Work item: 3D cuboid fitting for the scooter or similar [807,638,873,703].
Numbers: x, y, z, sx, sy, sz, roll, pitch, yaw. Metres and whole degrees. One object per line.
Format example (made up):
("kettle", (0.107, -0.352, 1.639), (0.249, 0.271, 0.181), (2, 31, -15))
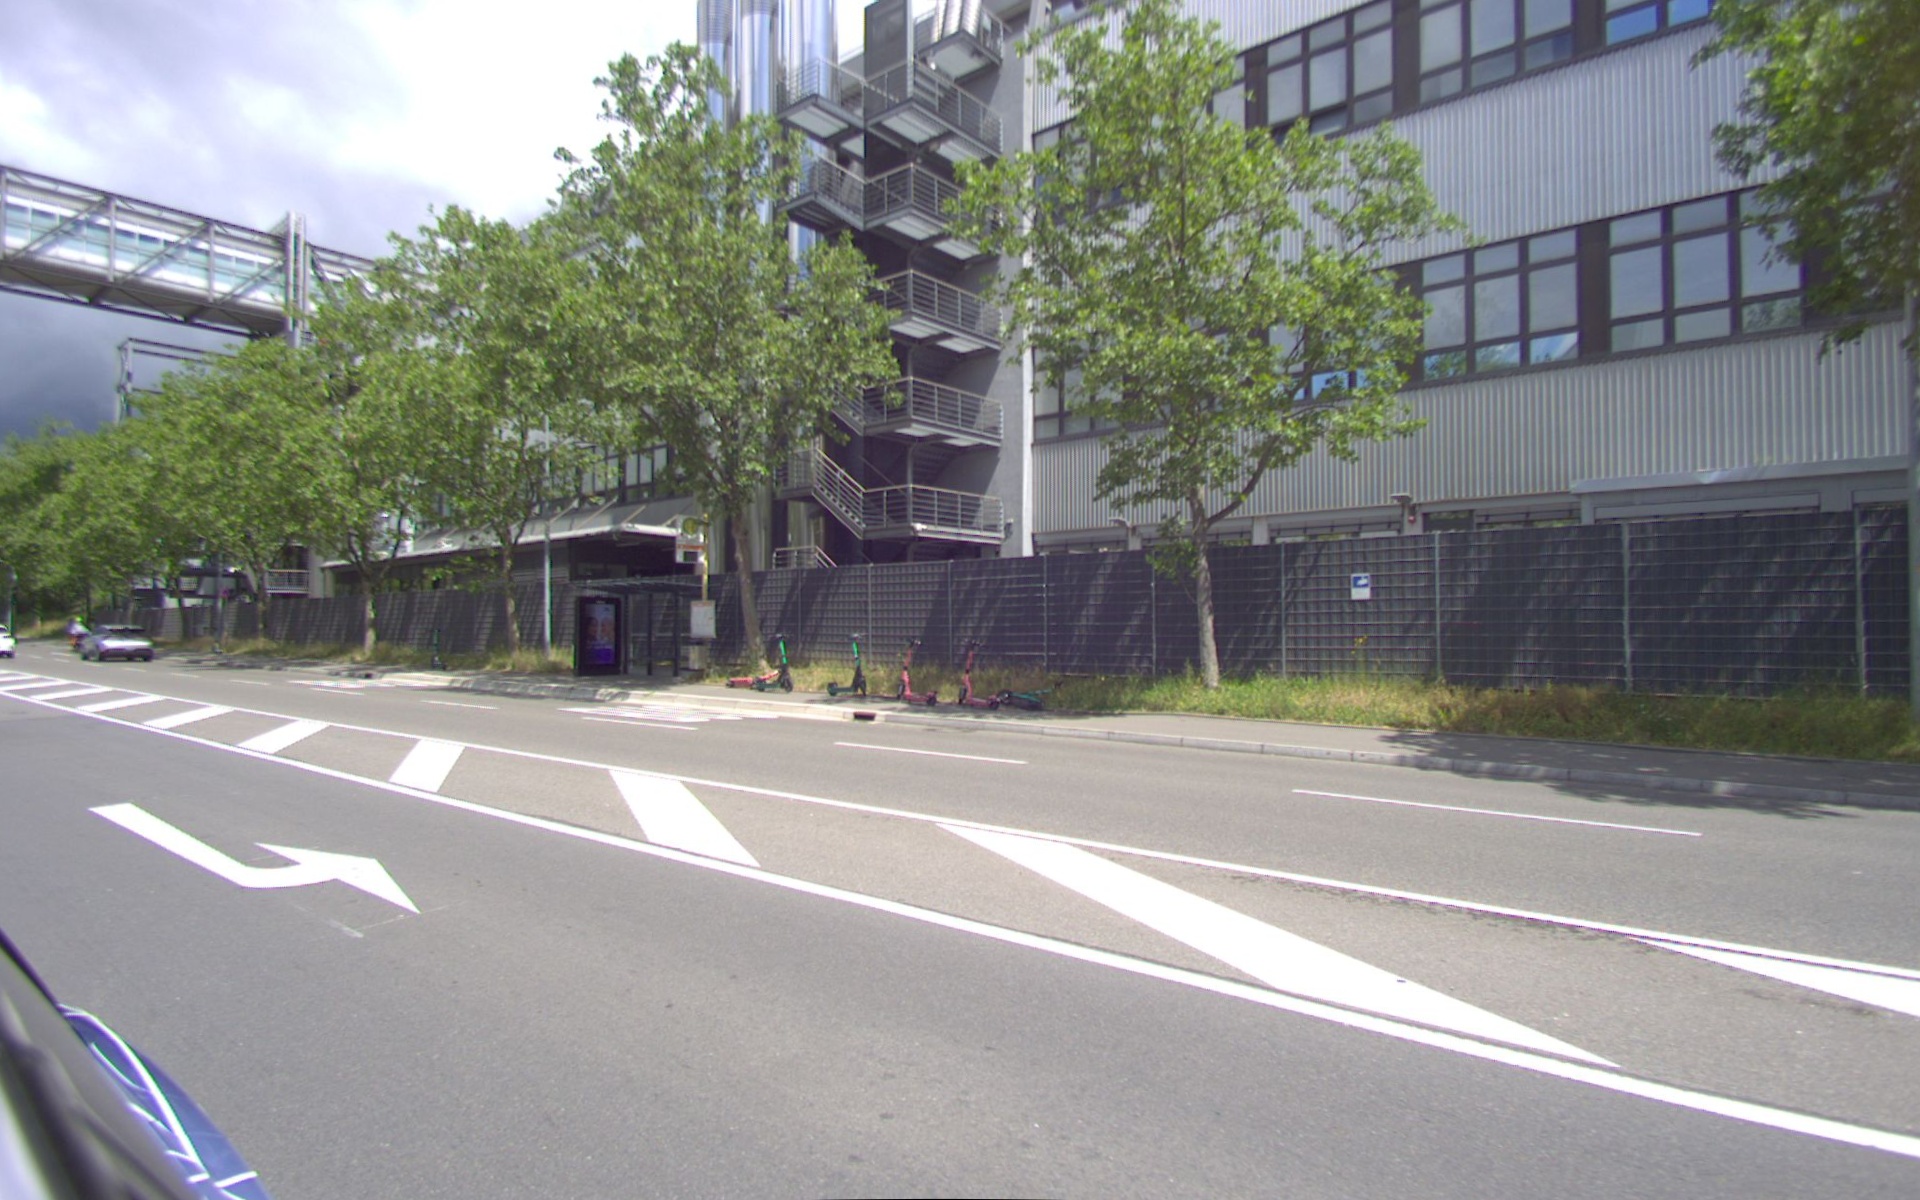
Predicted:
("scooter or similar", (-2.444, 1.422, 20.597), (1.316, 1.244, 0.518), (-2, 0, 39))

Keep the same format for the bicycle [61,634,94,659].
("bicycle", (-45.308, 2.387, 51.947), (2.470, 1.244, 0.729), (0, -3, 38))

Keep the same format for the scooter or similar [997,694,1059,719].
("scooter or similar", (1.200, 1.895, 18.111), (0.529, 0.325, 1.276), (0, -2, -26))

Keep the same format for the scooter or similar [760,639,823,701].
("scooter or similar", (-3.601, 1.475, 21.591), (1.316, 1.244, 0.518), (-2, 0, 39))

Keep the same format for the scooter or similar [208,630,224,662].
("scooter or similar", (-33.650, 2.069, 45.783), (1.234, 1.414, 0.300), (-1, 0, 39))

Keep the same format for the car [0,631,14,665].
("car", (-42.150, 2.032, 43.456), (4.141, 1.426, 1.674), (-1, -4, 39))

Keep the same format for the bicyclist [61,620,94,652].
("bicyclist", (-45.468, 1.863, 52.143), (1.221, 1.610, 0.947), (-1, -4, 36))

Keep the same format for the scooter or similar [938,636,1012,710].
("scooter or similar", (0.257, 1.293, 18.240), (0.517, 1.244, 1.318), (-3, 0, -44))

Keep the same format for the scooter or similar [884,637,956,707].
("scooter or similar", (-0.765, 1.340, 19.169), (1.317, 1.244, 0.517), (-2, 0, 41))

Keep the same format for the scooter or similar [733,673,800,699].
("scooter or similar", (-4.404, 1.929, 22.949), (1.341, 0.383, 1.494), (-3, 1, -16))

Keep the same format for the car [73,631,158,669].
("car", (-35.360, 2.074, 42.339), (4.185, 1.517, 1.860), (-2, -4, 38))
